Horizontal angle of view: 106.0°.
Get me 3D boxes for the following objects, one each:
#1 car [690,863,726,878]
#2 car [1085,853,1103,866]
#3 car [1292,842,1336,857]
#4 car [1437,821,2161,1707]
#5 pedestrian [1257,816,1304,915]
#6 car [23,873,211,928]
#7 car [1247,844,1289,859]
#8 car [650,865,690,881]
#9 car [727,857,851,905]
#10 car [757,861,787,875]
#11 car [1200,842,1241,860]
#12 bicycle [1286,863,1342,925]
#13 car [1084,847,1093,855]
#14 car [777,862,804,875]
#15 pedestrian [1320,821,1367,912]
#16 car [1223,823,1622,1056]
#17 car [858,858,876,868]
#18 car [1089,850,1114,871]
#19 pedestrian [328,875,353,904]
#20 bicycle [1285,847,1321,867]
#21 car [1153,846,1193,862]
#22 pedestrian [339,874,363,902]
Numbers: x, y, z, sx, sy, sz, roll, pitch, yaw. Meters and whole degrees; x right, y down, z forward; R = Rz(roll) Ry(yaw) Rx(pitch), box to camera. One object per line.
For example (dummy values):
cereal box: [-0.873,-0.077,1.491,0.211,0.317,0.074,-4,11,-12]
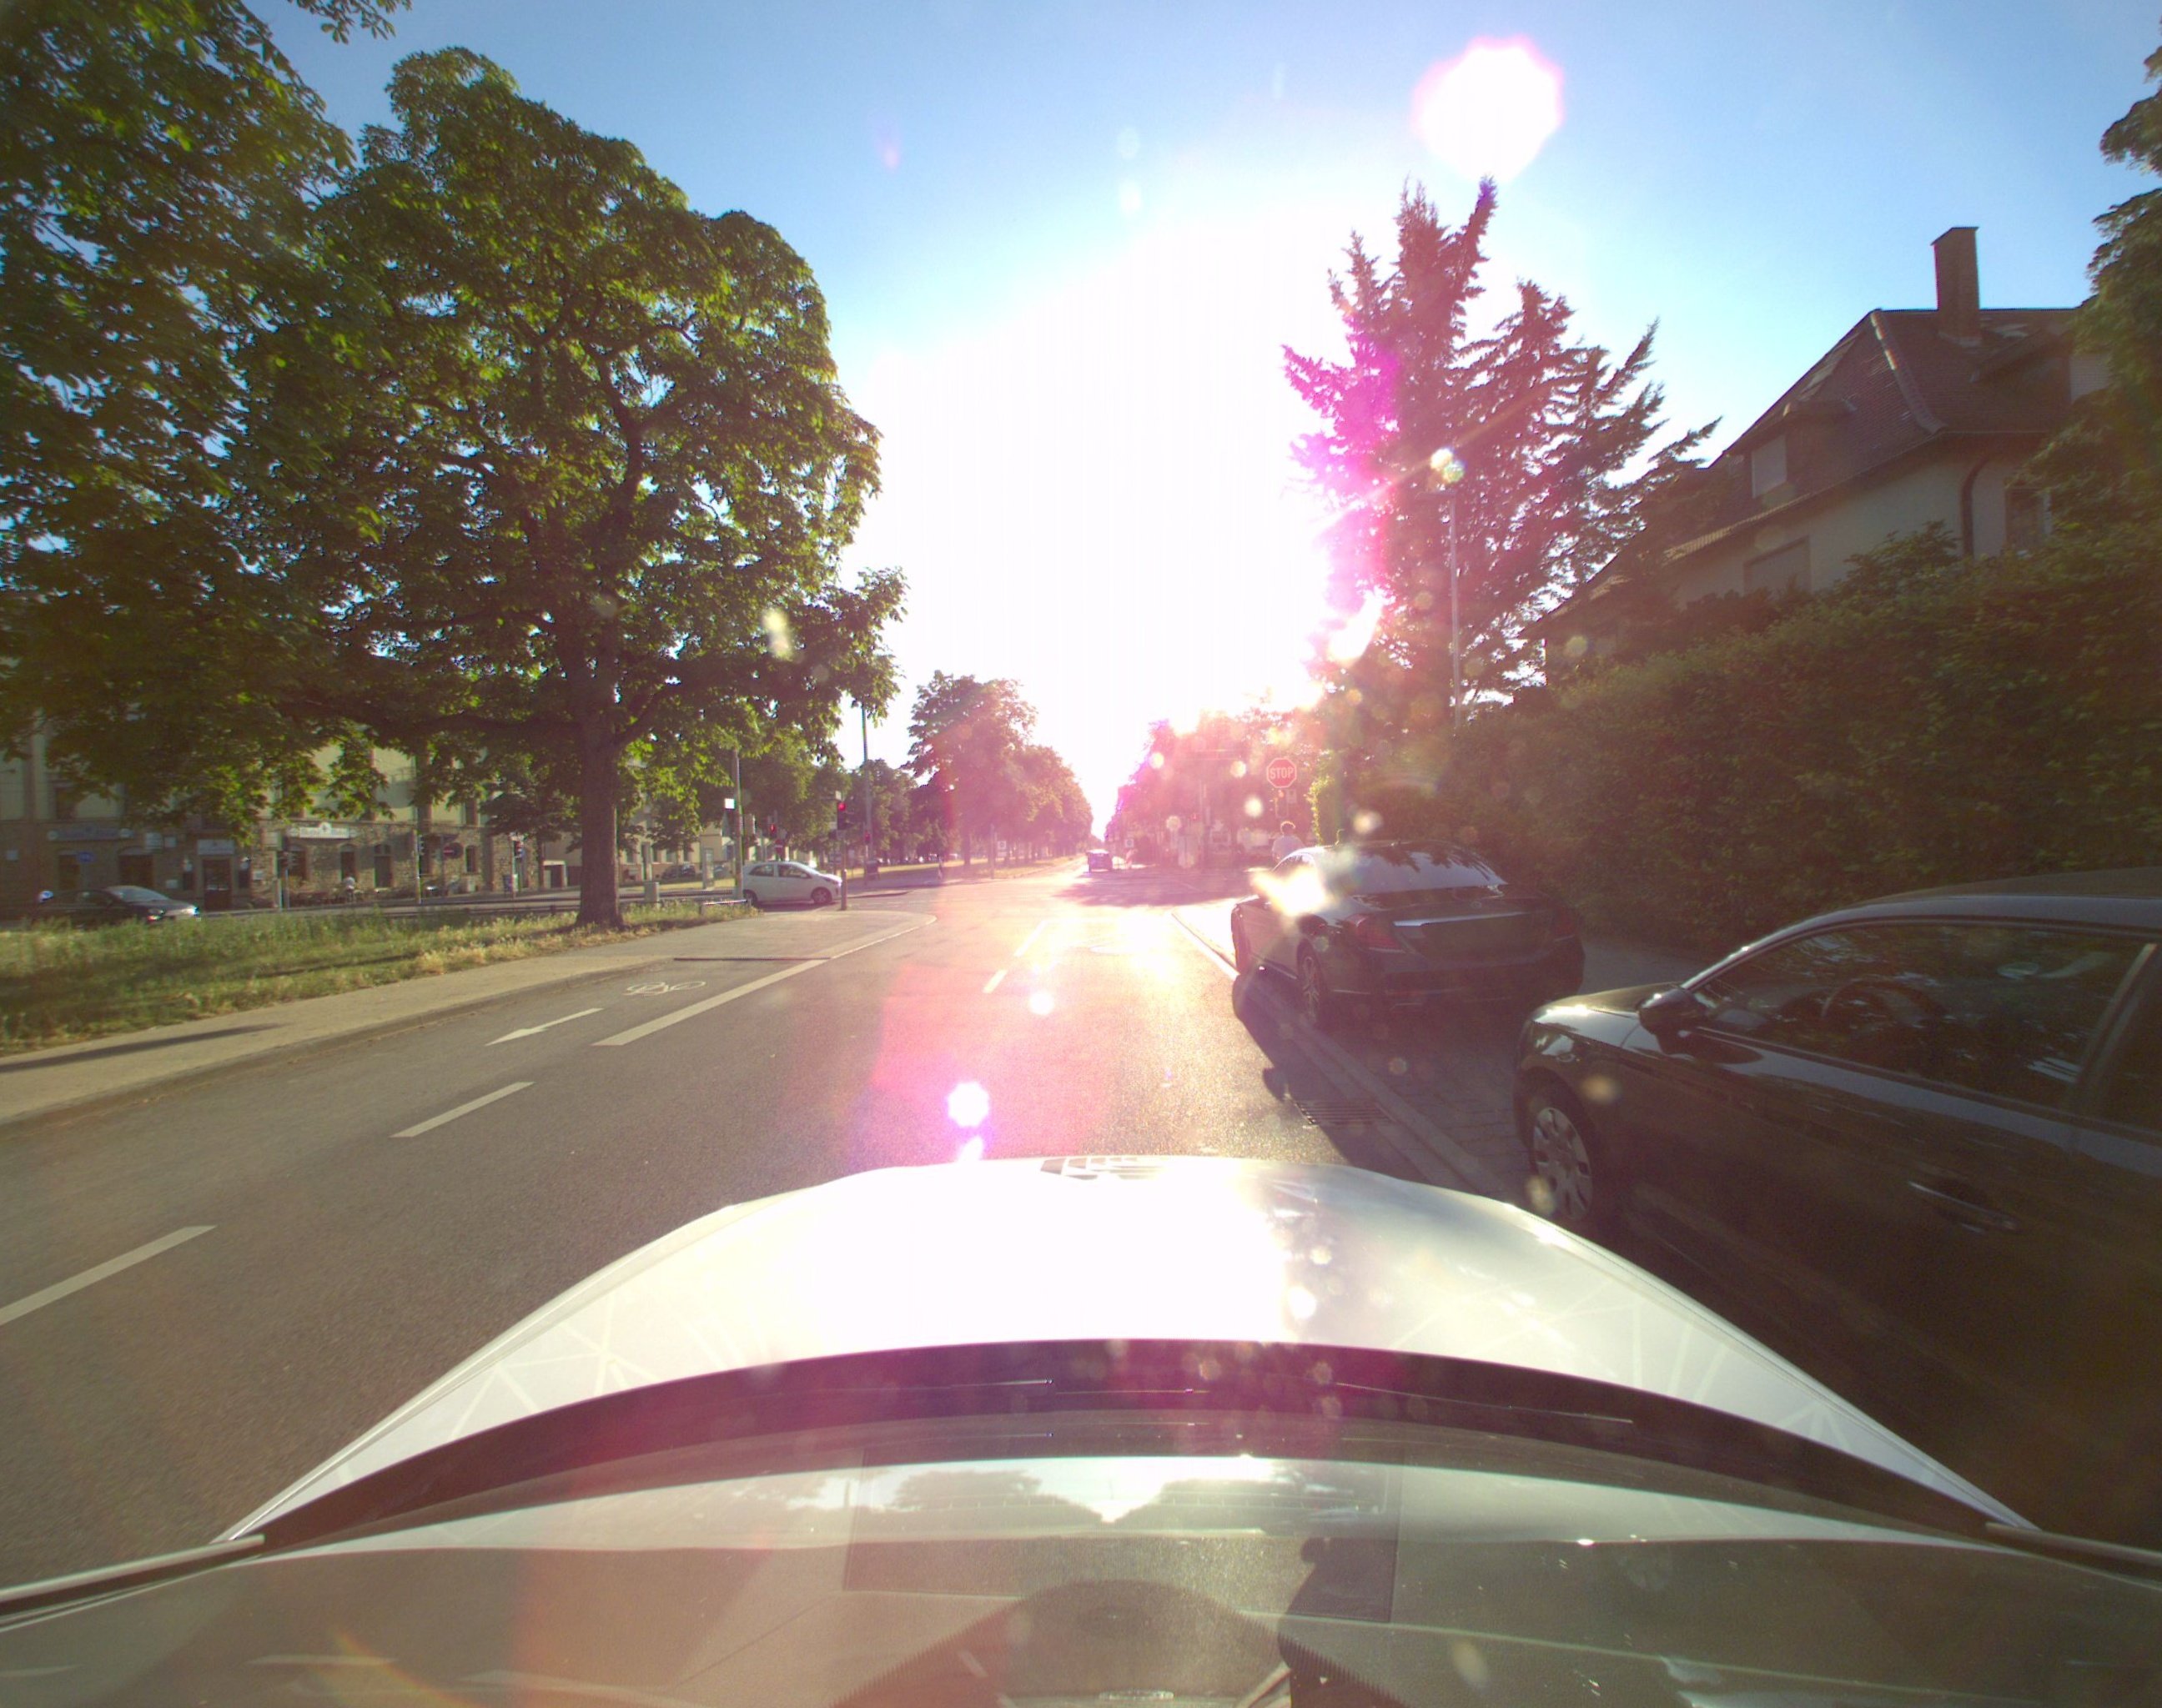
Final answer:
car: [-40.815,1.821,89.136,1.728,1.427,3.801,-1,2,8]
car: [1.508,0.620,92.812,1.838,1.393,3.831,-1,0,2]
car: [22.861,-0.440,80.005,3.836,1.427,1.596,-2,0,-3]
car: [2.574,0.661,2.053,1.635,1.427,3.937,-3,0,1]
pedestrian: [3.889,0.213,15.919,0.668,1.865,0.881,-1,0,-2]
car: [-29.170,1.392,24.732,3.588,1.498,1.610,-1,0,-3]
car: [18.218,-0.237,79.435,3.655,1.427,1.530,-2,0,-3]
car: [-41.479,1.873,82.333,1.728,1.397,3.801,-1,2,8]
car: [-9.846,0.888,27.682,3.686,1.488,1.735,-1,0,-10]
car: [-35.029,1.575,92.436,1.731,1.427,3.794,-2,0,2]
car: [13.621,-0.302,79.720,3.766,1.525,1.744,-1,1,1]
bicycle: [4.463,0.740,15.697,0.485,1.097,1.789,-1,0,-2]
car: [2.021,-0.815,223.389,2.126,2.013,3.904,-1,0,2]
car: [-34.969,1.686,98.087,1.731,1.427,3.794,-1,0,2]
pedestrian: [5.093,0.235,15.819,0.667,1.708,0.622,-1,0,-2]
car: [2.779,0.579,8.043,1.853,1.542,4.872,-2,0,0]
car: [-34.916,1.475,133.029,1.731,1.427,3.794,-1,0,2]
car: [1.509,0.443,58.801,1.634,1.451,3.311,-1,0,4]
pedestrian: [-43.879,2.095,48.287,0.723,1.642,0.813,-2,0,-9]
bicycle: [12.859,0.169,47.221,1.945,1.132,0.620,-2,0,3]
car: [8.956,-0.039,79.608,3.766,1.427,1.744,-1,1,1]
pedestrian: [-44.218,2.051,49.334,0.808,1.642,0.728,-2,0,9]
